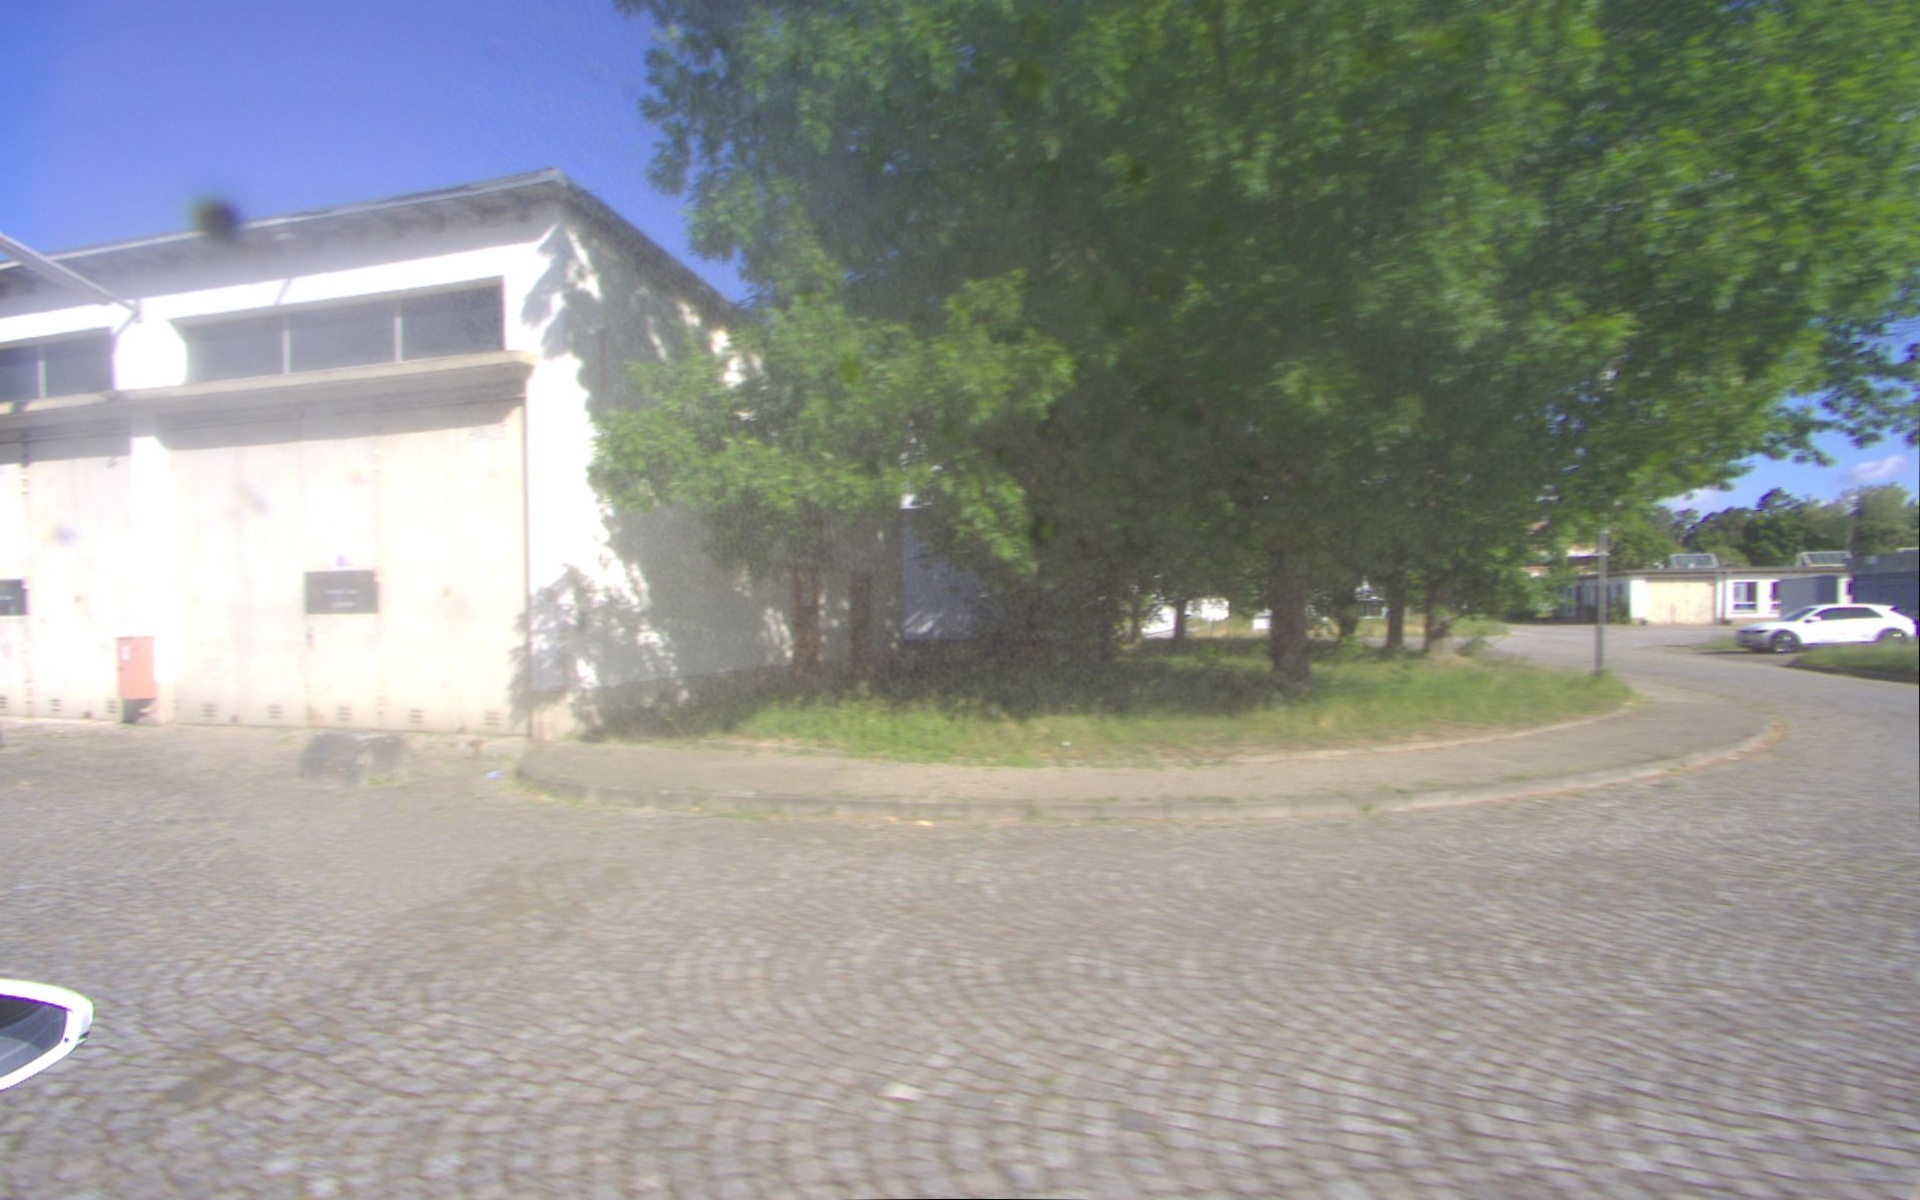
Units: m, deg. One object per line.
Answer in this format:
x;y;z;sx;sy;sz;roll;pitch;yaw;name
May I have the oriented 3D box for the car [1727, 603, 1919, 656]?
28.672;0.964;33.390;4.520;1.699;1.872;0;0;18;car
